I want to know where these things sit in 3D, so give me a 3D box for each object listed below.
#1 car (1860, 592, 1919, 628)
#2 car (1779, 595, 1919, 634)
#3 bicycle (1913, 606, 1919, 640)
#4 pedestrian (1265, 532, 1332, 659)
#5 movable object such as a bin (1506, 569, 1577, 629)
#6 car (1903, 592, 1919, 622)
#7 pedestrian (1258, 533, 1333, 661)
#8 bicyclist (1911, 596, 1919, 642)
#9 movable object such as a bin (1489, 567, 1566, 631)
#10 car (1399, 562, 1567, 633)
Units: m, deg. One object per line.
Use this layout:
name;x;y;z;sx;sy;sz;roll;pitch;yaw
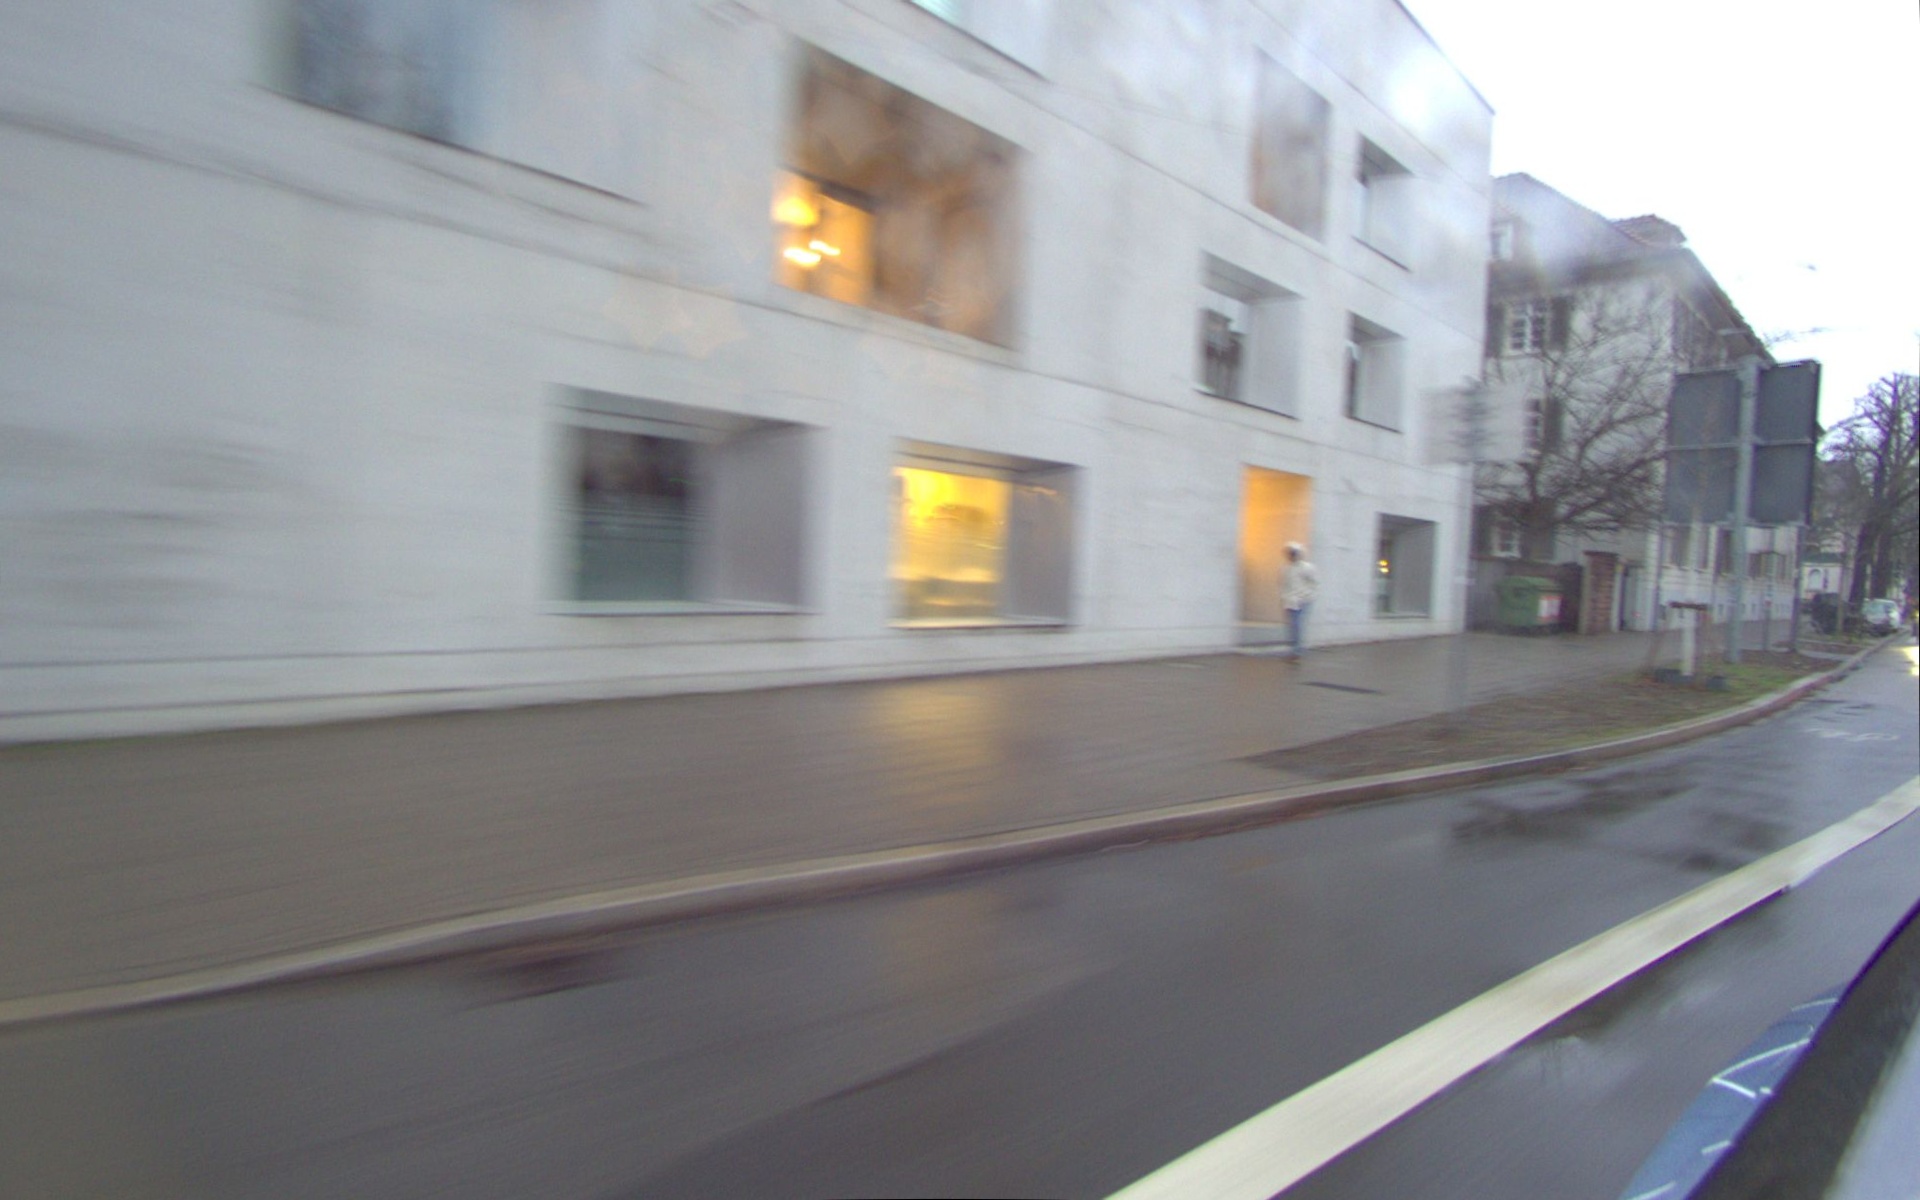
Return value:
car;42.516;0.433;46.206;3.440;1.535;1.658;0;1;-40
car;35.111;0.551;40.112;3.823;1.447;1.844;1;1;30
bicycle;32.671;0.790;33.913;2.243;1.104;0.724;2;0;-38
pedestrian;5.200;-0.083;15.560;0.648;1.882;0.657;0;4;-43
movable object such as a bin;15.029;-0.042;26.170;1.256;1.463;1.397;4;3;43
car;50.185;0.348;52.348;3.440;1.535;1.658;0;1;-40
pedestrian;5.168;-0.063;15.597;0.706;1.881;0.772;0;3;-42
bicyclist;34.504;0.675;36.148;0.746;1.601;0.786;0;0;41
movable object such as a bin;13.915;-0.047;24.820;1.395;1.463;1.258;0;3;-44
car;13.250;-0.091;25.728;1.703;1.668;3.452;0;1;-44
